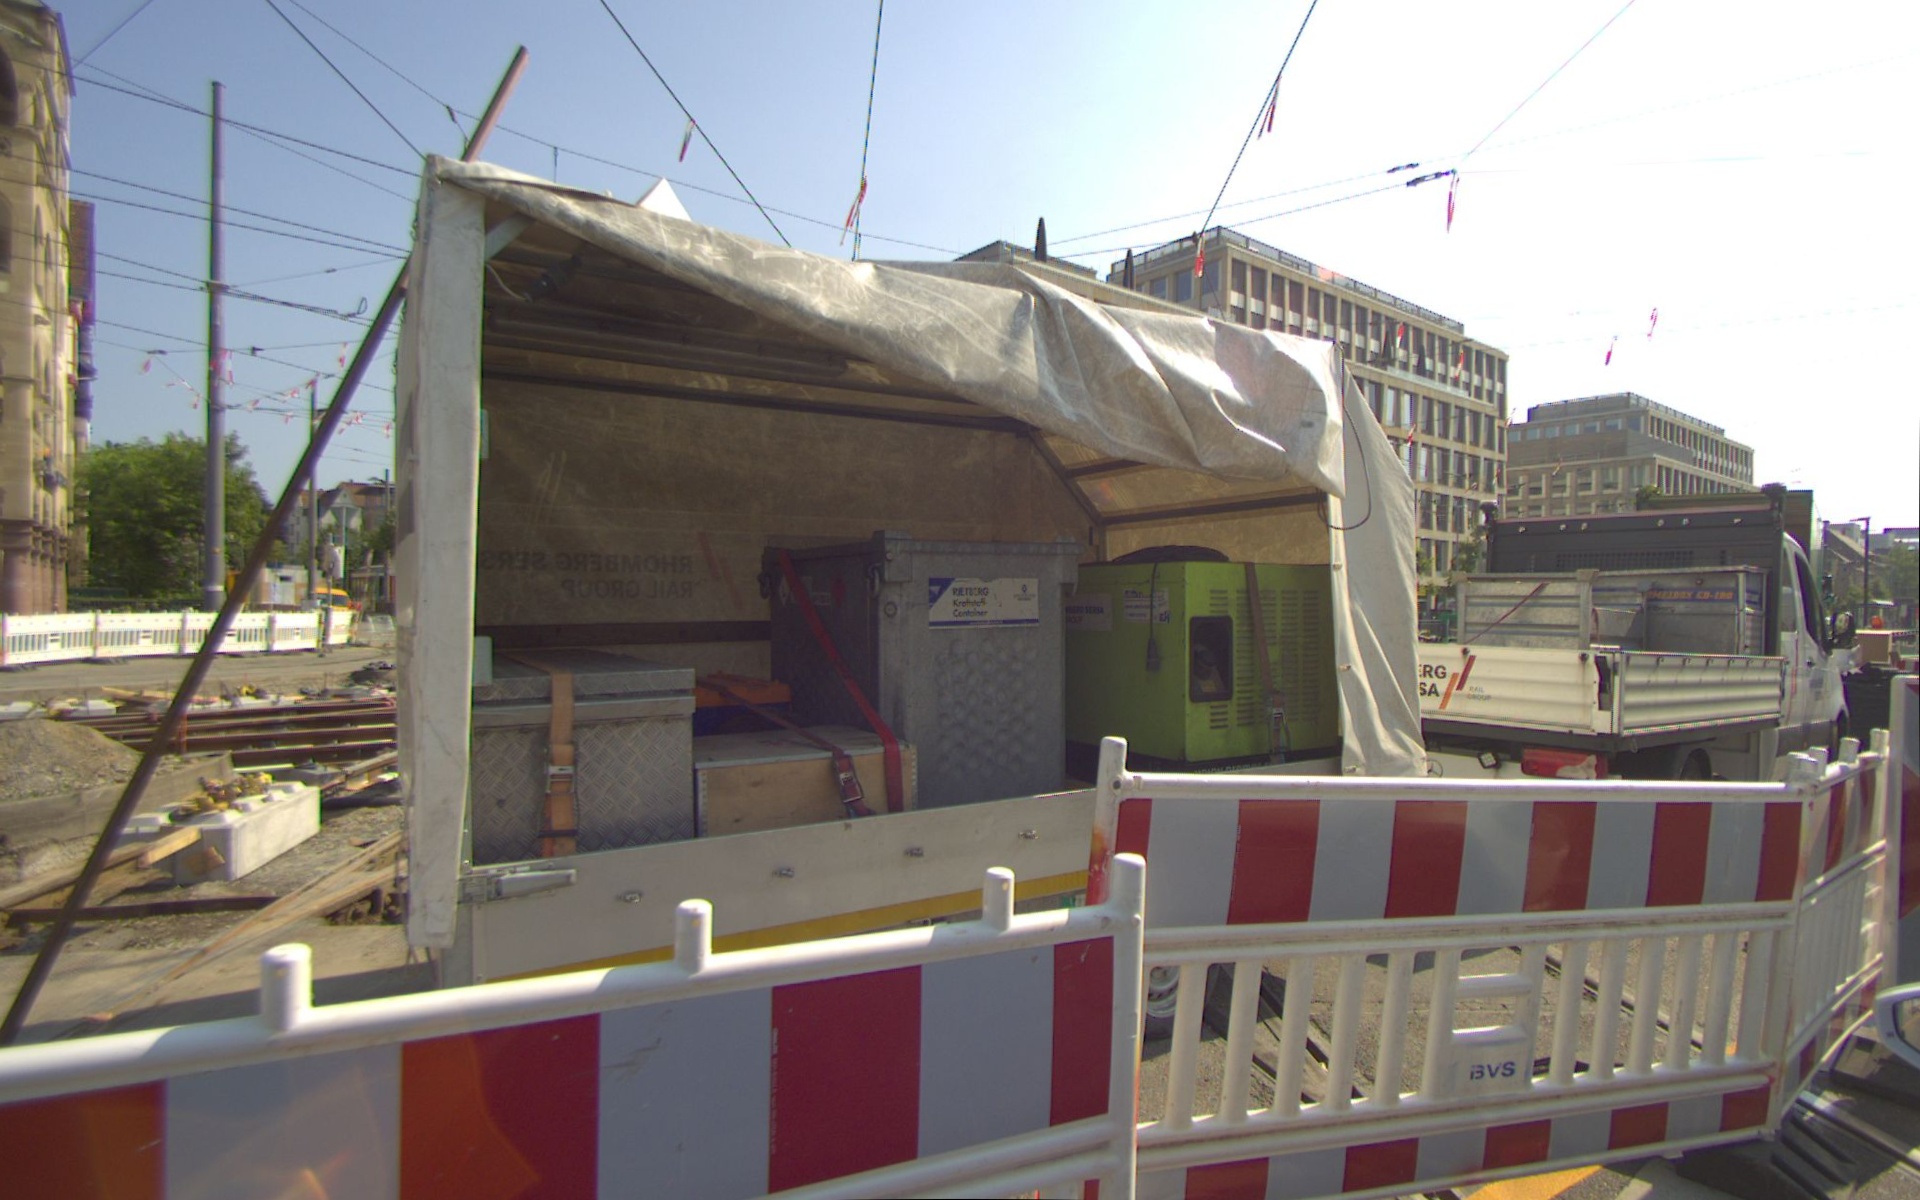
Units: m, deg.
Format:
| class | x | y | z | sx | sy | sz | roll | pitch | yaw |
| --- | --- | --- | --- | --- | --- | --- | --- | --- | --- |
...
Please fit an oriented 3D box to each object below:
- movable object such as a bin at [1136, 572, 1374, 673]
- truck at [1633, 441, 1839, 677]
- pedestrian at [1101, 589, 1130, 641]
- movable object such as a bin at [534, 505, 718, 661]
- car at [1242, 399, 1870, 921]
| class | x | y | z | sx | sy | sz | roll | pitch | yaw |
| --- | --- | --- | --- | --- | --- | --- | --- | --- | --- |
| movable object such as a bin | 10.197 | 0.760 | 34.228 | 8.404 | 2.997 | 3.585 | 2 | 0 | -39 |
| truck | 16.264 | -0.731 | 21.031 | 2.758 | 3.965 | 8.380 | 2 | 2 | 39 |
| pedestrian | 5.668 | 0.543 | 36.623 | 0.796 | 1.890 | 0.753 | 1 | 0 | -15 |
| movable object such as a bin | -11.219 | -0.402 | 33.102 | 4.902 | 4.404 | 7.336 | 2 | -1 | -25 |
| car | 5.191 | 0.348 | 7.935 | 7.144 | 2.456 | 2.188 | 1 | -1 | -41 |
